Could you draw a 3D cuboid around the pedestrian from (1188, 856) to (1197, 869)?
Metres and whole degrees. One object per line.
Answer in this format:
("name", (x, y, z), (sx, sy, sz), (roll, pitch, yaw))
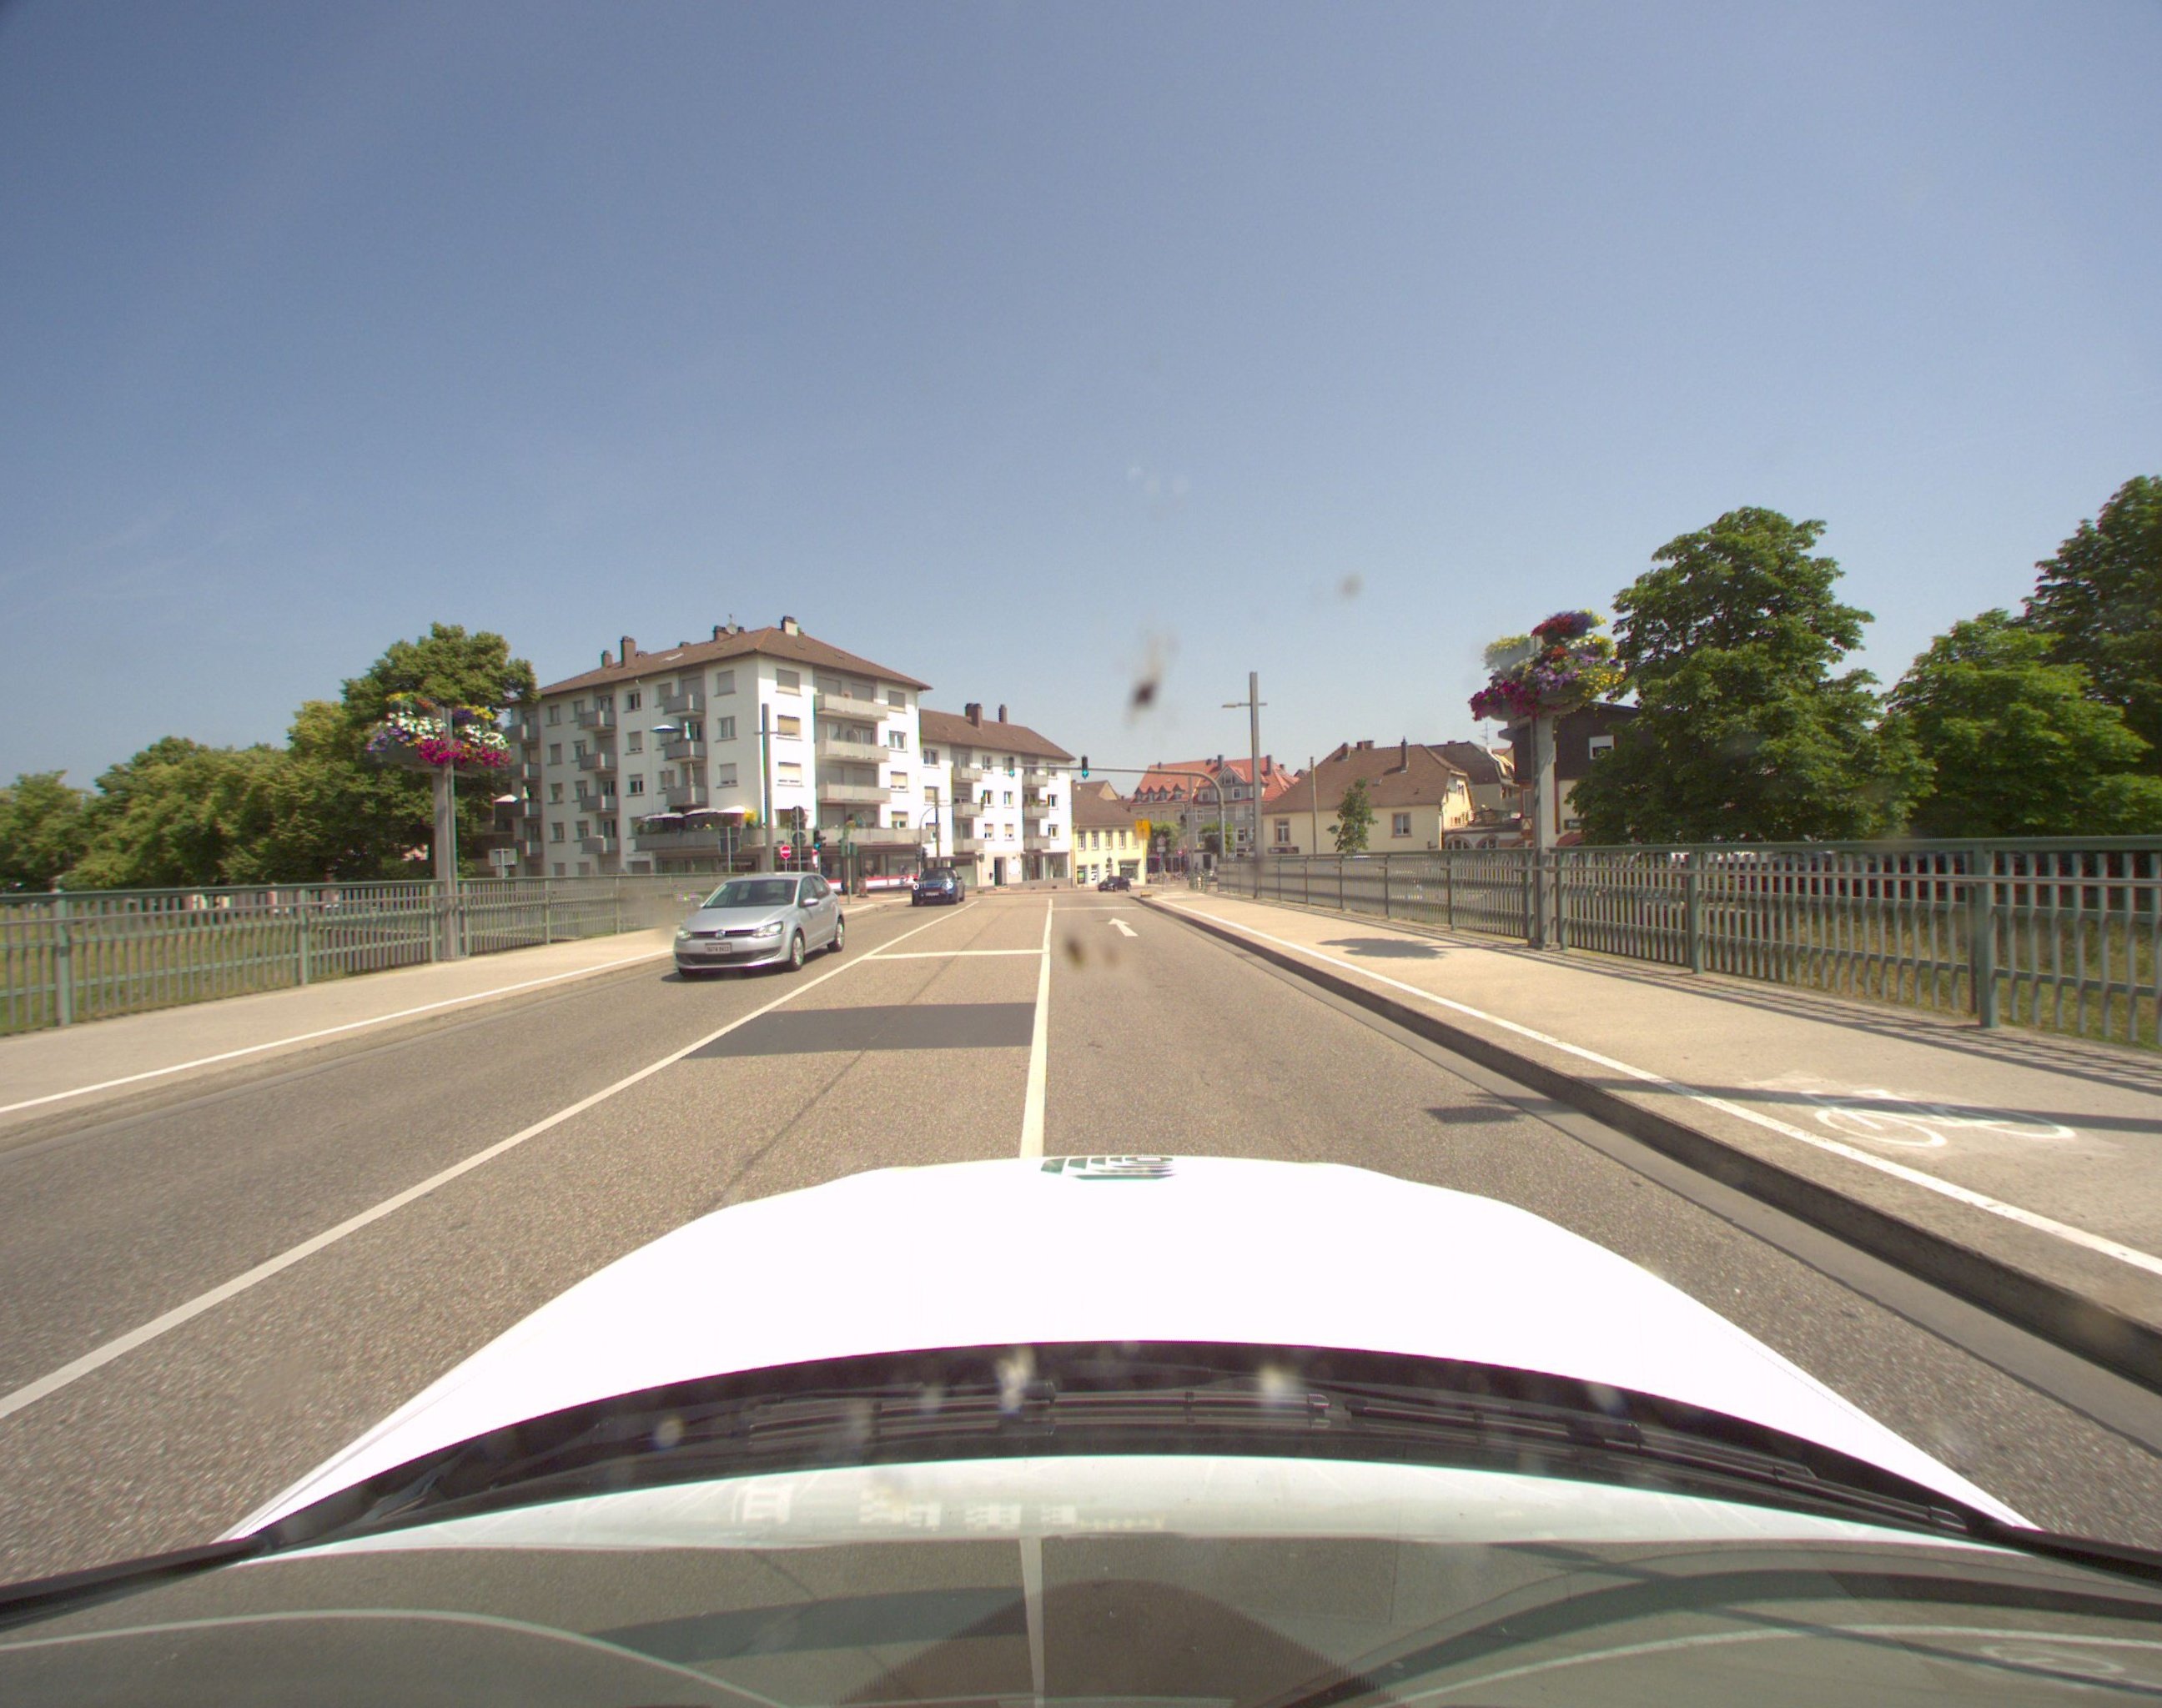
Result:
("pedestrian", (17.521, 1.383, 128.217), (1.020, 1.980, 1.027), (0, 0, 33))

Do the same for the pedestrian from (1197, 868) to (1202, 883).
("pedestrian", (16.229, 2.957, 111.358), (0.606, 2.013, 0.556), (0, 0, 11))

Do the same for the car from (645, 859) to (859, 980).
("car", (-4.967, 0.888, 12.945), (1.755, 1.519, 3.998), (-2, 0, -1))

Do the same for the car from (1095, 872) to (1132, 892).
("car", (2.889, 2.450, 71.657), (1.660, 1.488, 3.978), (-4, -2, 27))

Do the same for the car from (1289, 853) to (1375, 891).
("car", (18.405, 1.307, 59.768), (5.560, 2.628, 2.256), (-1, 0, 32))

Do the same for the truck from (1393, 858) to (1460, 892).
("truck", (23.754, 1.411, 56.024), (4.017, 2.215, 1.825), (0, 0, 33))

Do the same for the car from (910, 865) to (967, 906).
("car", (-5.581, 1.193, 32.278), (1.652, 1.440, 3.752), (-3, -1, -2))
